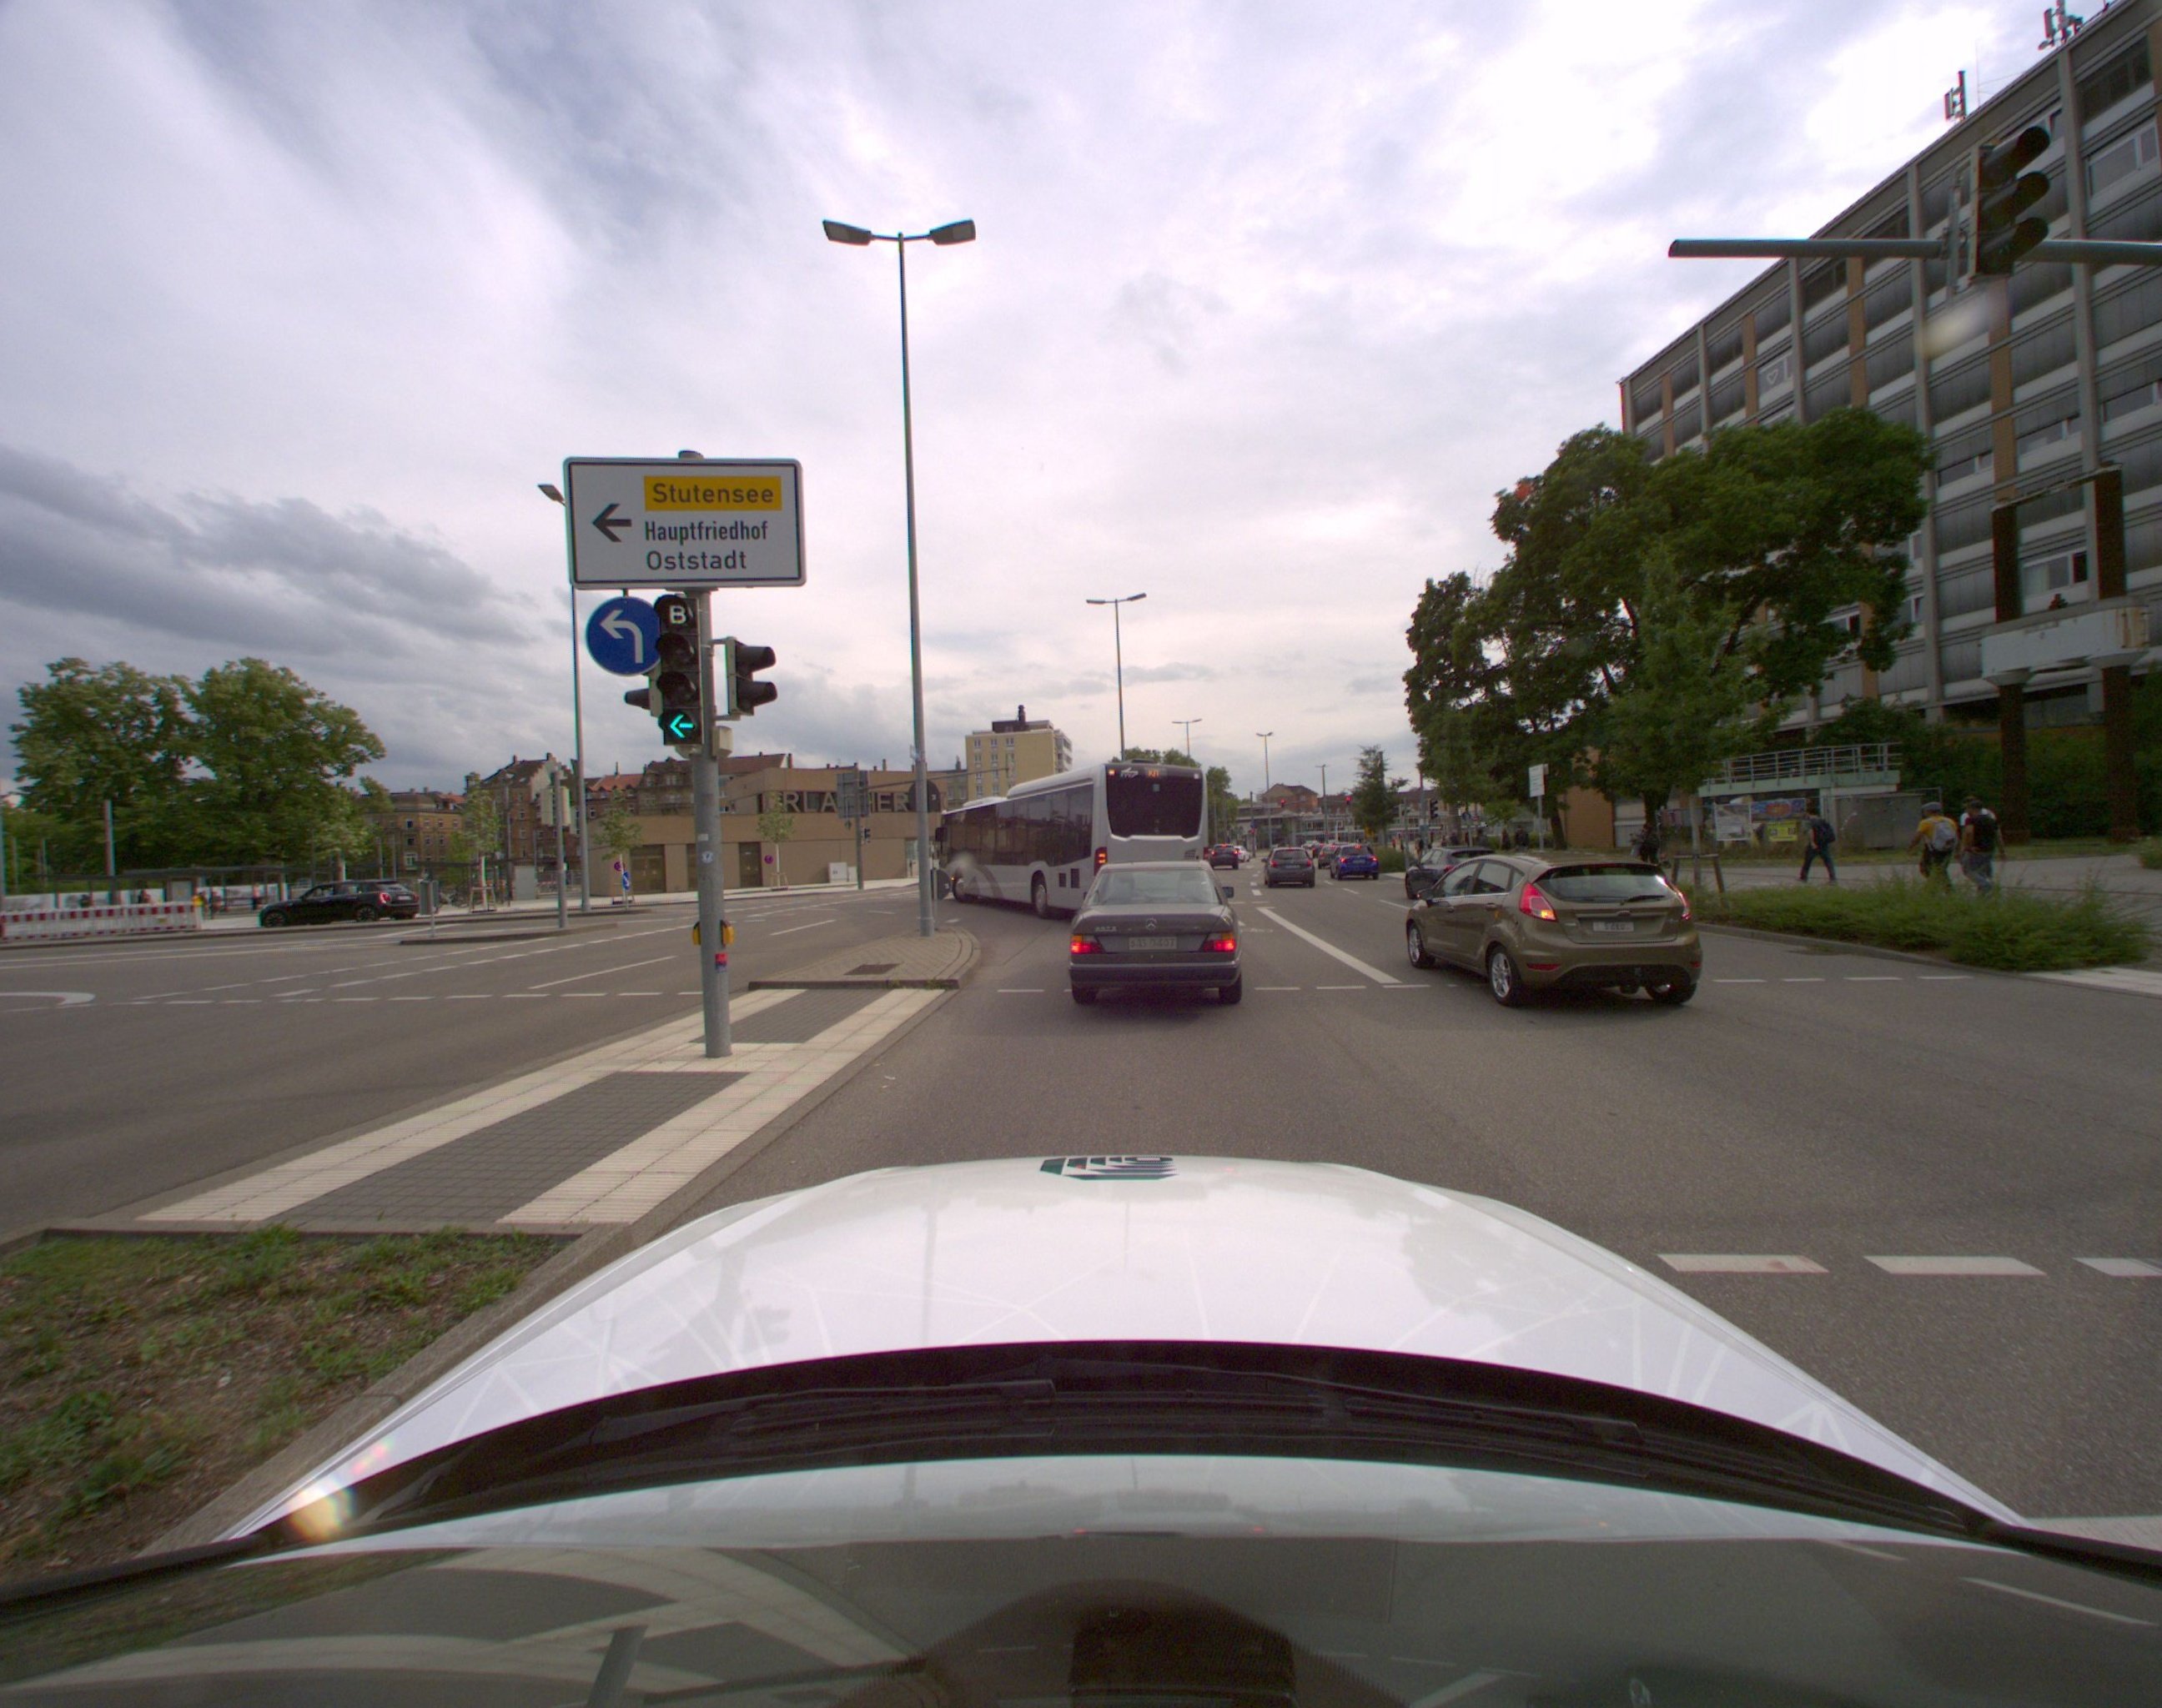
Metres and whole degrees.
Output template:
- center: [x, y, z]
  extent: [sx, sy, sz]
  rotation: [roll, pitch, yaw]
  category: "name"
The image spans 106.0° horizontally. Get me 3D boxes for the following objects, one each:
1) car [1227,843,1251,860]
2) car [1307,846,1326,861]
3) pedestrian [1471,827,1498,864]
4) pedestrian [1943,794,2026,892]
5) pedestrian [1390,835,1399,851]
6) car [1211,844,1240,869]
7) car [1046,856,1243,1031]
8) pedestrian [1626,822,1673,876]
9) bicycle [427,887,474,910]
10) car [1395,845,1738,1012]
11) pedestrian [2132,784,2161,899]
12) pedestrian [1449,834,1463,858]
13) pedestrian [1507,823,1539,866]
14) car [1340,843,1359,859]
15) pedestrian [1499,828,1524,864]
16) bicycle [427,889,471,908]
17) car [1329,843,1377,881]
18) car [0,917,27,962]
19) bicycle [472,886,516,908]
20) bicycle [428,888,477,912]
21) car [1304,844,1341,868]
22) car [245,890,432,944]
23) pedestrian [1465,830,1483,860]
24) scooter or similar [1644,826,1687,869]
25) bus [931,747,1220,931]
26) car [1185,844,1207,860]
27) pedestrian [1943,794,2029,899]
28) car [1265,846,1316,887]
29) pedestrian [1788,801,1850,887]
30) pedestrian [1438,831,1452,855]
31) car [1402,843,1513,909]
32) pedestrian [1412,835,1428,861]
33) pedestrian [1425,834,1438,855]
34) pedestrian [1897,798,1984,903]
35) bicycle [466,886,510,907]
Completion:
- center: [13.964, -0.225, 71.752]
  extent: [1.697, 1.420, 4.017]
  rotation: [-1, 0, 16]
  category: "car"
- center: [23.511, -0.016, 81.234]
  extent: [1.697, 1.420, 4.019]
  rotation: [-1, 0, 19]
  category: "car"
- center: [19.066, -0.412, 38.481]
  extent: [0.775, 1.711, 1.028]
  rotation: [-1, 0, 2]
  category: "pedestrian"
- center: [16.270, -0.195, 14.688]
  extent: [0.635, 1.711, 0.708]
  rotation: [-2, 0, 2]
  category: "pedestrian"
- center: [32.348, -1.179, 83.996]
  extent: [0.771, 1.574, 0.817]
  rotation: [-4, -1, 25]
  category: "pedestrian"
- center: [9.548, 0.172, 53.921]
  extent: [1.823, 1.615, 3.556]
  rotation: [-1, 0, 10]
  category: "car"
- center: [0.916, 0.782, 9.264]
  extent: [1.685, 1.480, 4.428]
  rotation: [-1, 0, 10]
  category: "car"
- center: [17.462, -0.153, 25.044]
  extent: [0.775, 1.574, 0.812]
  rotation: [-4, 0, 2]
  category: "pedestrian"
- center: [-35.124, 2.463, 45.389]
  extent: [0.577, 1.156, 1.978]
  rotation: [-1, 0, 42]
  category: "bicycle"
- center: [4.825, 0.643, 8.767]
  extent: [1.687, 1.404, 3.704]
  rotation: [-1, 0, 4]
  category: "car"
- center: [16.450, -0.210, 12.095]
  extent: [0.635, 1.711, 0.708]
  rotation: [-4, -1, 2]
  category: "pedestrian"
- center: [24.924, -0.538, 54.103]
  extent: [0.771, 1.574, 0.817]
  rotation: [-4, -1, 25]
  category: "pedestrian"
- center: [18.252, -0.382, 33.668]
  extent: [0.775, 1.711, 1.028]
  rotation: [-1, 0, 2]
  category: "pedestrian"
- center: [25.962, -0.297, 78.575]
  extent: [1.690, 1.420, 3.718]
  rotation: [-1, 0, 19]
  category: "car"
- center: [20.449, -0.383, 38.678]
  extent: [0.775, 1.711, 0.812]
  rotation: [-1, 0, 2]
  category: "pedestrian"
- center: [-36.699, 2.585, 47.308]
  extent: [1.977, 0.970, 0.577]
  rotation: [-1, 0, -42]
  category: "bicycle"
- center: [11.766, 0.317, 35.419]
  extent: [1.843, 1.532, 4.020]
  rotation: [-1, 0, 16]
  category: "car"
- center: [-35.761, 2.716, 24.891]
  extent: [4.251, 1.361, 1.998]
  rotation: [-1, 0, -4]
  category: "car"
- center: [-33.550, 2.442, 46.583]
  extent: [0.577, 1.156, 1.978]
  rotation: [-1, 0, 42]
  category: "bicycle"
- center: [-33.379, 2.430, 43.257]
  extent: [0.577, 1.156, 1.978]
  rotation: [-1, 0, 42]
  category: "bicycle"
- center: [15.208, 0.114, 51.393]
  extent: [2.116, 1.420, 3.715]
  rotation: [-1, 0, 15]
  category: "car"
- center: [-23.567, 1.965, 26.001]
  extent: [3.981, 1.486, 1.996]
  rotation: [-1, 0, -6]
  category: "car"
- center: [21.965, -0.507, 45.530]
  extent: [0.771, 1.574, 0.817]
  rotation: [-4, -1, 25]
  category: "pedestrian"
- center: [18.863, -0.204, 26.302]
  extent: [0.398, 1.370, 1.143]
  rotation: [-1, 0, -11]
  category: "scooter or similar"
- center: [-1.209, -0.166, 22.328]
  extent: [2.716, 3.438, 14.077]
  rotation: [-4, 0, -22]
  category: "bus"
- center: [12.511, -0.256, 88.539]
  extent: [1.980, 1.651, 4.528]
  rotation: [-1, 0, 13]
  category: "car"
- center: [15.291, -0.125, 13.781]
  extent: [0.635, 1.711, 0.708]
  rotation: [-1, 0, 2]
  category: "pedestrian"
- center: [7.868, 0.437, 30.847]
  extent: [1.699, 1.420, 4.013]
  rotation: [-1, 0, 12]
  category: "car"
- center: [16.461, -0.219, 18.175]
  extent: [0.635, 1.852, 0.708]
  rotation: [-3, -1, 2]
  category: "pedestrian"
- center: [25.176, -0.774, 56.269]
  extent: [0.771, 1.574, 0.817]
  rotation: [-4, -1, 25]
  category: "pedestrian"
- center: [9.484, 0.515, 20.775]
  extent: [1.656, 1.508, 3.644]
  rotation: [-1, 0, 10]
  category: "car"
- center: [21.025, -0.386, 50.531]
  extent: [0.771, 1.574, 0.817]
  rotation: [-4, -1, 25]
  category: "pedestrian"
- center: [27.125, -0.733, 63.059]
  extent: [0.771, 1.574, 0.817]
  rotation: [-4, -1, 25]
  category: "pedestrian"
- center: [14.589, -0.056, 13.840]
  extent: [0.635, 1.711, 0.708]
  rotation: [-3, -1, 2]
  category: "pedestrian"
- center: [-34.606, 2.461, 47.561]
  extent: [0.577, 1.156, 1.978]
  rotation: [-1, 0, 42]
  category: "bicycle"
